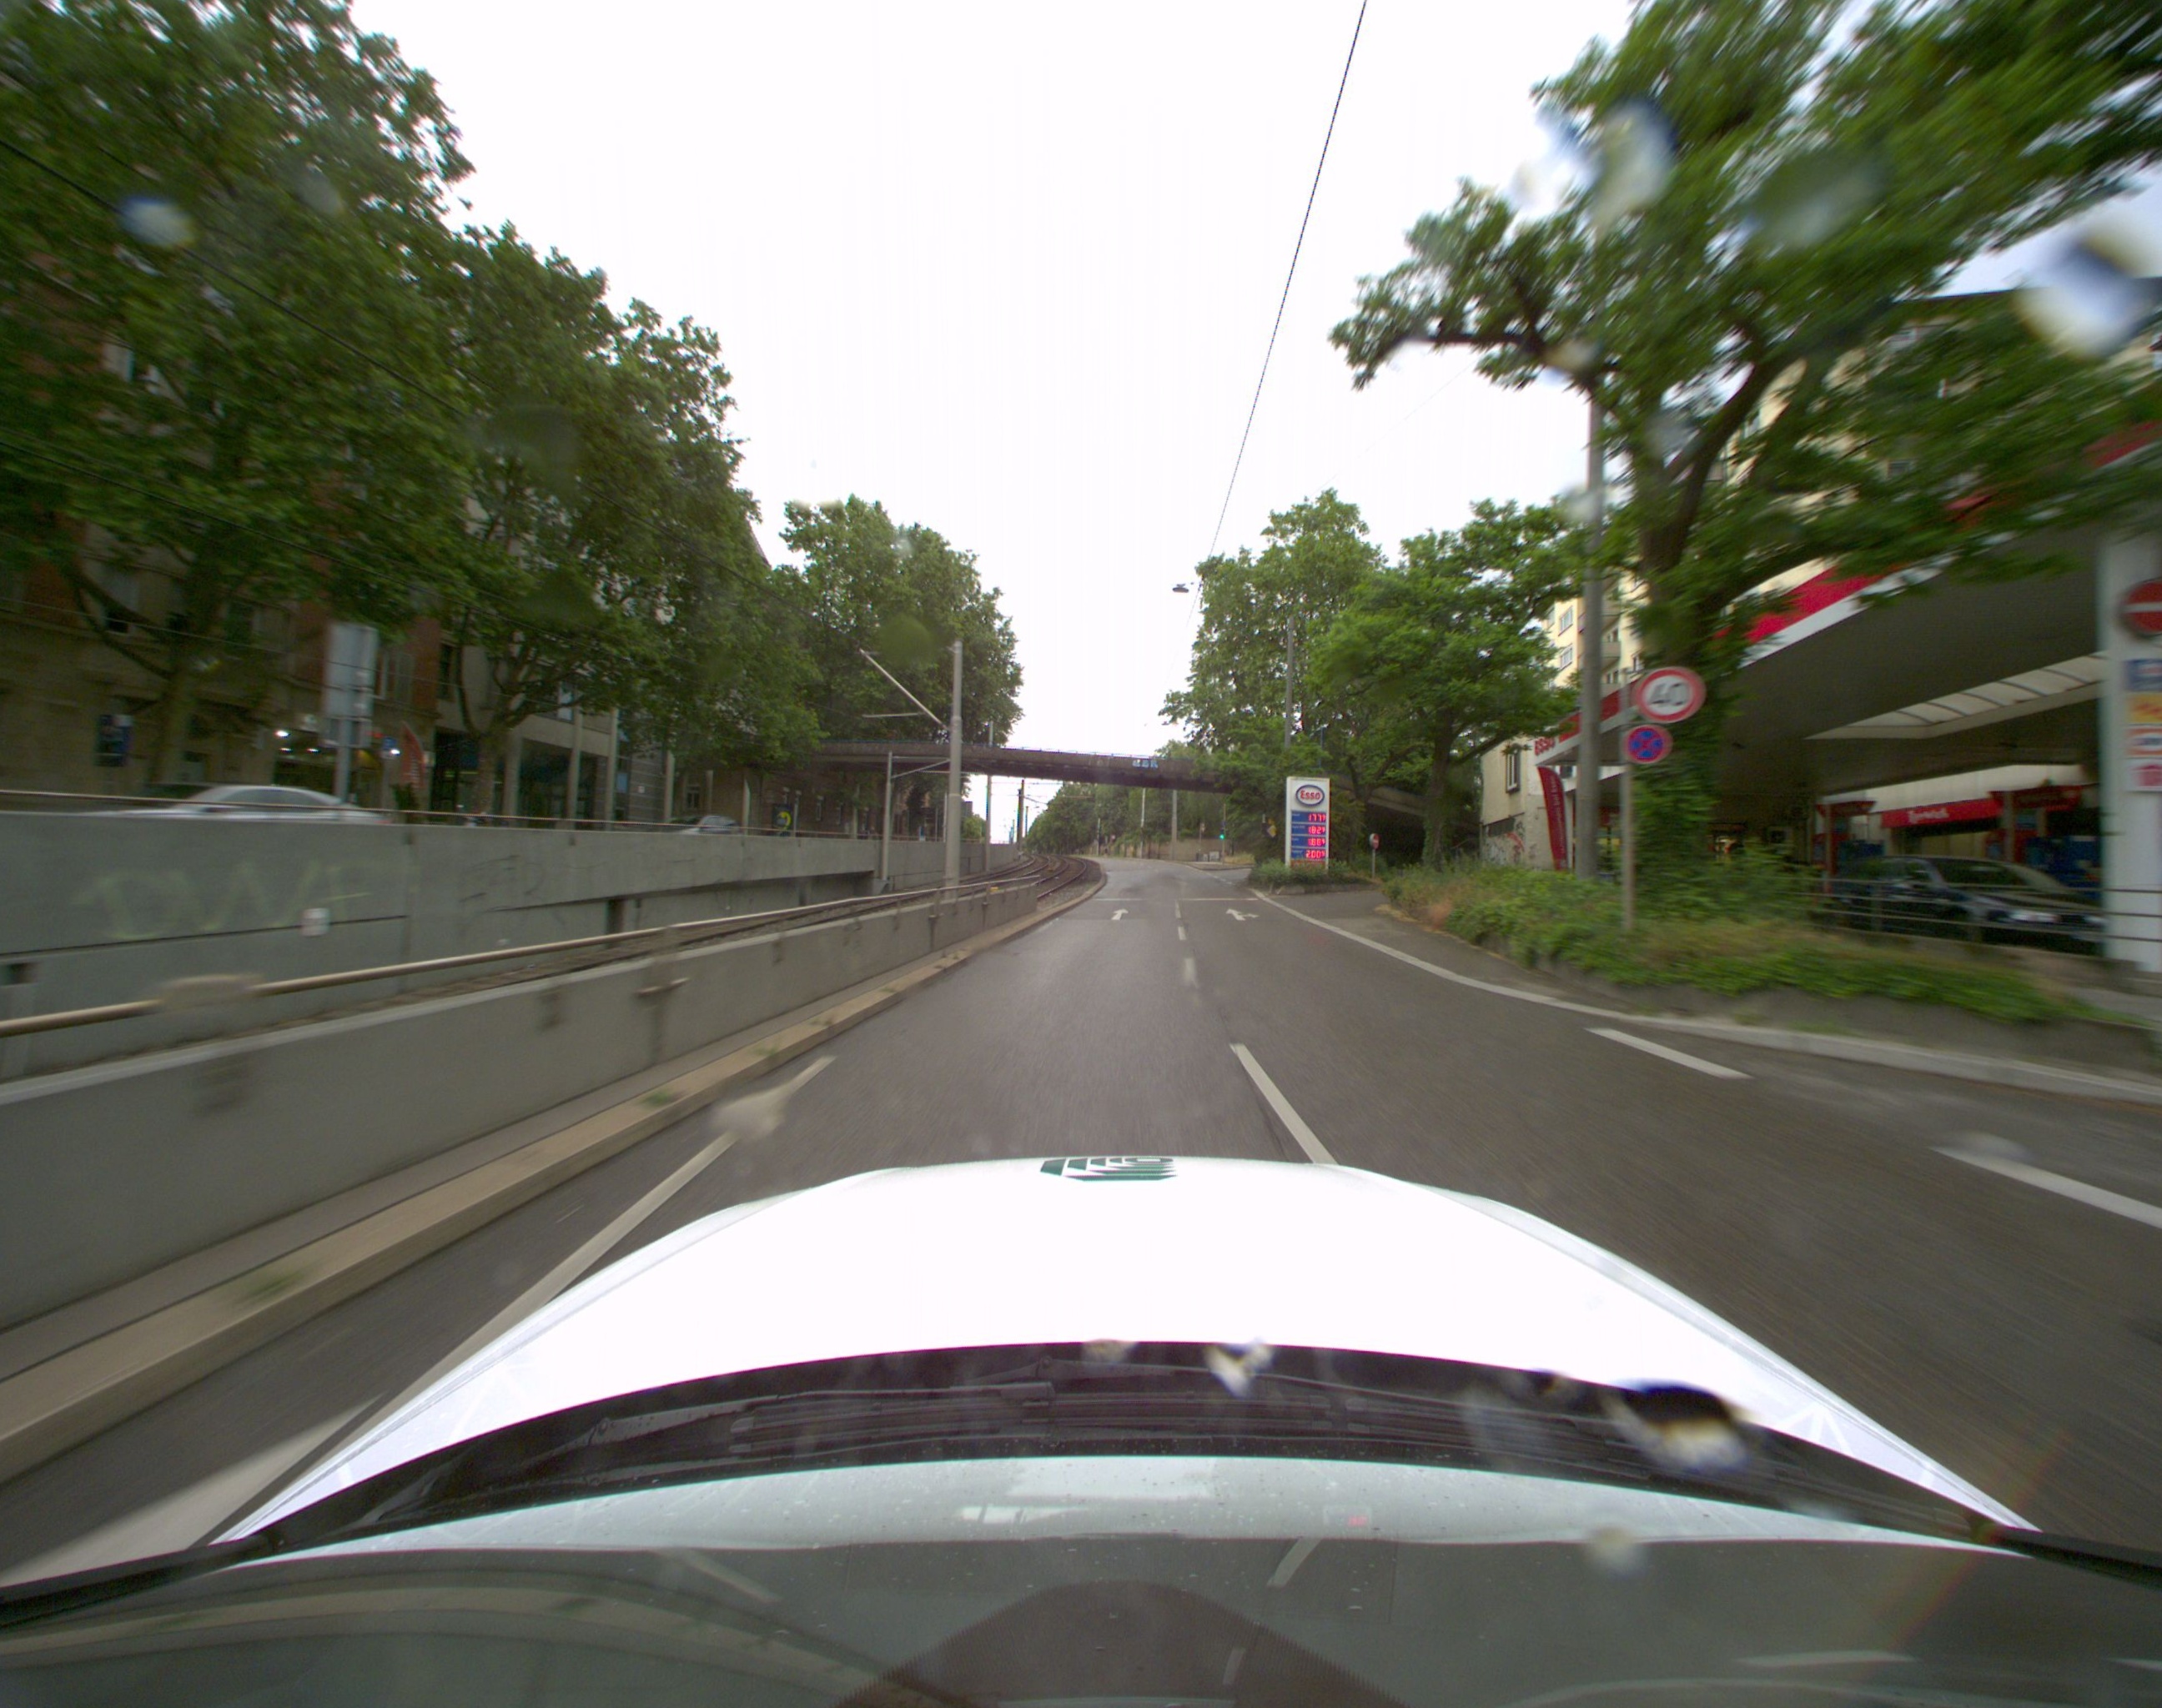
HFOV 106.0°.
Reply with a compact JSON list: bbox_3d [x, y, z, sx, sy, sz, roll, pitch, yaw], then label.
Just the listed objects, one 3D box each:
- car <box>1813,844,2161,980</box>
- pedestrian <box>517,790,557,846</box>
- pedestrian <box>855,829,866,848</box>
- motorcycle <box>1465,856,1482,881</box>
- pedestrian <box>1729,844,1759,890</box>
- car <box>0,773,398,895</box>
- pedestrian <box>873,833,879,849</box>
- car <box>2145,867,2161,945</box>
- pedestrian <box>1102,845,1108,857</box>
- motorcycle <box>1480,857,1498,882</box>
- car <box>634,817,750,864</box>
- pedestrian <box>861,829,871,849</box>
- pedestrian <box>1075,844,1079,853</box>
[{"bbox_3d":[12.804,0.717,11.767,1.759,1.623,3.882,0,-1,15],"label":"car"},{"bbox_3d":[-20.474,-1.348,30.656,0.665,2.014,0.937,4,-1,9],"label":"pedestrian"},{"bbox_3d":[-18.706,-1.298,69.148,0.589,1.624,0.725,0,1,13],"label":"pedestrian"},{"bbox_3d":[19.659,0.723,40.840,0.529,1.191,1.772,0,1,18],"label":"motorcycle"},{"bbox_3d":[27.329,0.528,33.587,0.688,1.870,0.667,4,-1,-26],"label":"pedestrian"},{"bbox_3d":[-13.324,-0.277,12.614,1.785,1.510,4.006,3,0,5],"label":"car"},{"bbox_3d":[-17.358,-1.121,68.922,0.333,1.334,0.504,0,1,-1],"label":"pedestrian"},{"bbox_3d":[21.458,1.013,13.927,1.782,1.510,4.013,4,-1,13],"label":"car"},{"bbox_3d":[3.829,-0.475,129.058,0.719,1.850,0.781,3,-1,-7],"label":"pedestrian"},{"bbox_3d":[20.081,0.744,40.095,0.529,1.191,1.772,0,1,18],"label":"motorcycle"},{"bbox_3d":[-14.160,-0.453,29.958,1.784,1.510,4.117,3,0,8],"label":"car"},{"bbox_3d":[-18.072,-1.263,68.485,0.589,1.624,0.725,0,1,13],"label":"pedestrian"},{"bbox_3d":[-0.745,-1.054,158.773,0.719,1.687,0.727,3,-1,-7],"label":"pedestrian"}]
